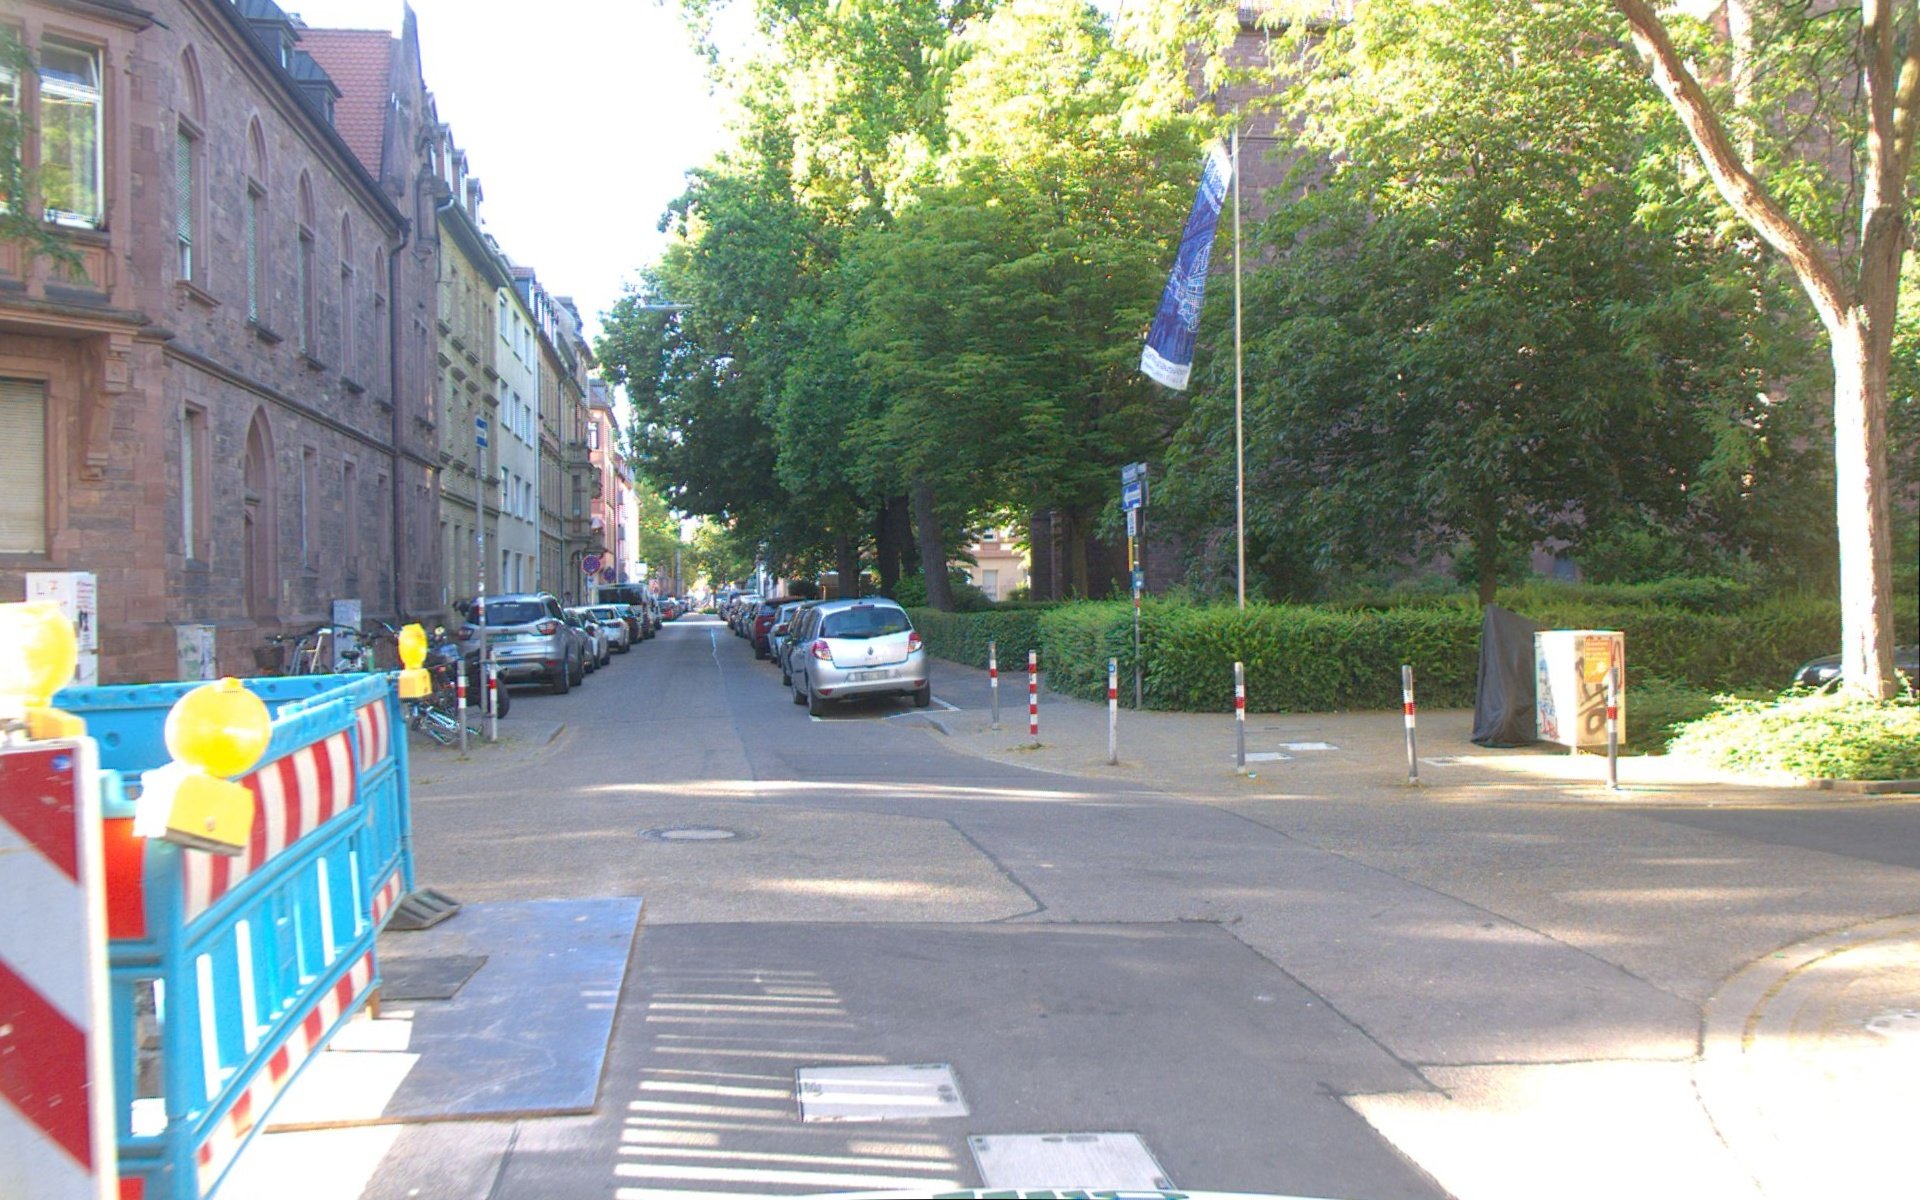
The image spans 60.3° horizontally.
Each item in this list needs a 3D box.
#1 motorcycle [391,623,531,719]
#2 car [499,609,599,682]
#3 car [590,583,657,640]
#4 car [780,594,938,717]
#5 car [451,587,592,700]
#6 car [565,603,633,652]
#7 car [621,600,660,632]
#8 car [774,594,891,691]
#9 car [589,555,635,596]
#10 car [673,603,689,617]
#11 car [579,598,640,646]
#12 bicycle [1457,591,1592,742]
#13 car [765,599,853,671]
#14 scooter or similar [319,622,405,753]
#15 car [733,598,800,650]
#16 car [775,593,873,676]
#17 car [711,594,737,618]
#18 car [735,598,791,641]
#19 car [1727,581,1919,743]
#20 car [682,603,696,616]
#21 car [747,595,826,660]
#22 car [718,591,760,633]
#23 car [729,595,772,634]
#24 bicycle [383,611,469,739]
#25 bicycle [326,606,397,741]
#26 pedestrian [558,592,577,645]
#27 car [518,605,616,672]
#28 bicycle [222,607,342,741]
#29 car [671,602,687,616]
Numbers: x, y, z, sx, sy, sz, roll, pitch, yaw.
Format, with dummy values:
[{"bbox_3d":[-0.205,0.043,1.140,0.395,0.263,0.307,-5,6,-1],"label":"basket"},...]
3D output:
[{"bbox_3d":[-6.818,0.955,22.530,2.267,1.228,0.663,-2,-1,40],"label":"motorcycle"},{"bbox_3d":[-8.700,0.925,35.284,1.693,1.417,3.991,-1,0,-9],"label":"car"},{"bbox_3d":[-13.445,0.447,66.379,2.266,2.151,5.160,-1,0,-8],"label":"car"},{"bbox_3d":[-1.533,0.720,23.755,1.693,1.549,3.989,-2,0,-11],"label":"car"},{"bbox_3d":[-7.568,0.714,28.904,1.847,1.737,3.992,-3,0,-8],"label":"car"},{"bbox_3d":[-10.725,0.791,49.314,1.739,1.377,3.991,-1,0,-9],"label":"car"},{"bbox_3d":[-16.708,0.837,86.714,1.868,1.601,3.991,-1,0,-10],"label":"car"},{"bbox_3d":[-2.317,0.716,29.221,1.691,1.549,3.991,-1,0,-10],"label":"car"},{"bbox_3d":[-14.993,-1.094,71.457,1.760,1.601,3.992,-1,3,-10],"label":"car"},{"bbox_3d":[-35.752,1.273,211.951,1.957,1.676,3.991,-1,0,-9],"label":"car"},{"bbox_3d":[-12.473,0.763,59.038,1.957,1.601,3.991,-1,0,-10],"label":"car"},{"bbox_3d":[5.782,0.634,16.853,0.761,1.395,2.118,-2,0,33],"label":"bicycle"},{"bbox_3d":[-3.690,0.801,39.951,1.807,1.624,3.991,-1,0,-10],"label":"car"},{"bbox_3d":[-6.249,0.890,17.336,0.519,1.299,1.299,-1,0,-6],"label":"scooter or similar"},{"bbox_3d":[-6.400,0.770,54.378,1.957,1.601,3.991,-1,0,-10],"label":"car"},{"bbox_3d":[-2.917,0.693,34.829,1.709,1.601,3.991,-1,0,-10],"label":"car"},{"bbox_3d":[-18.752,0.472,131.147,1.957,1.758,3.991,-2,0,-9],"label":"car"},{"bbox_3d":[-7.731,0.758,64.575,1.957,1.601,3.991,-1,0,-10],"label":"car"},{"bbox_3d":[10.454,0.574,16.228,1.788,1.579,5.024,-1,0,-42],"label":"car"},{"bbox_3d":[-38.256,1.342,233.713,1.957,1.676,3.991,-1,0,-9],"label":"car"},{"bbox_3d":[-4.735,0.724,44.666,1.860,1.653,3.991,-1,0,-10],"label":"car"},{"bbox_3d":[-12.588,0.676,94.065,2.121,2.295,4.515,-1,0,-10],"label":"car"},{"bbox_3d":[-9.725,0.639,76.662,1.796,1.733,3.991,-1,0,-10],"label":"car"},{"bbox_3d":[-6.234,0.824,19.236,0.674,1.368,2.483,-1,0,-24],"label":"bicycle"},{"bbox_3d":[-6.955,0.808,19.160,0.565,1.448,2.483,-1,0,-24],"label":"bicycle"},{"bbox_3d":[-15.143,0.713,63.825,0.673,2.049,0.688,-1,-1,-16],"label":"pedestrian"},{"bbox_3d":[-9.383,0.898,39.738,1.847,1.435,3.992,-3,0,-8],"label":"car"},{"bbox_3d":[-7.999,0.821,19.641,0.670,1.448,2.792,-1,0,-9],"label":"bicycle"},{"bbox_3d":[-34.487,1.113,203.017,1.957,1.676,3.991,-1,0,-9],"label":"car"}]
